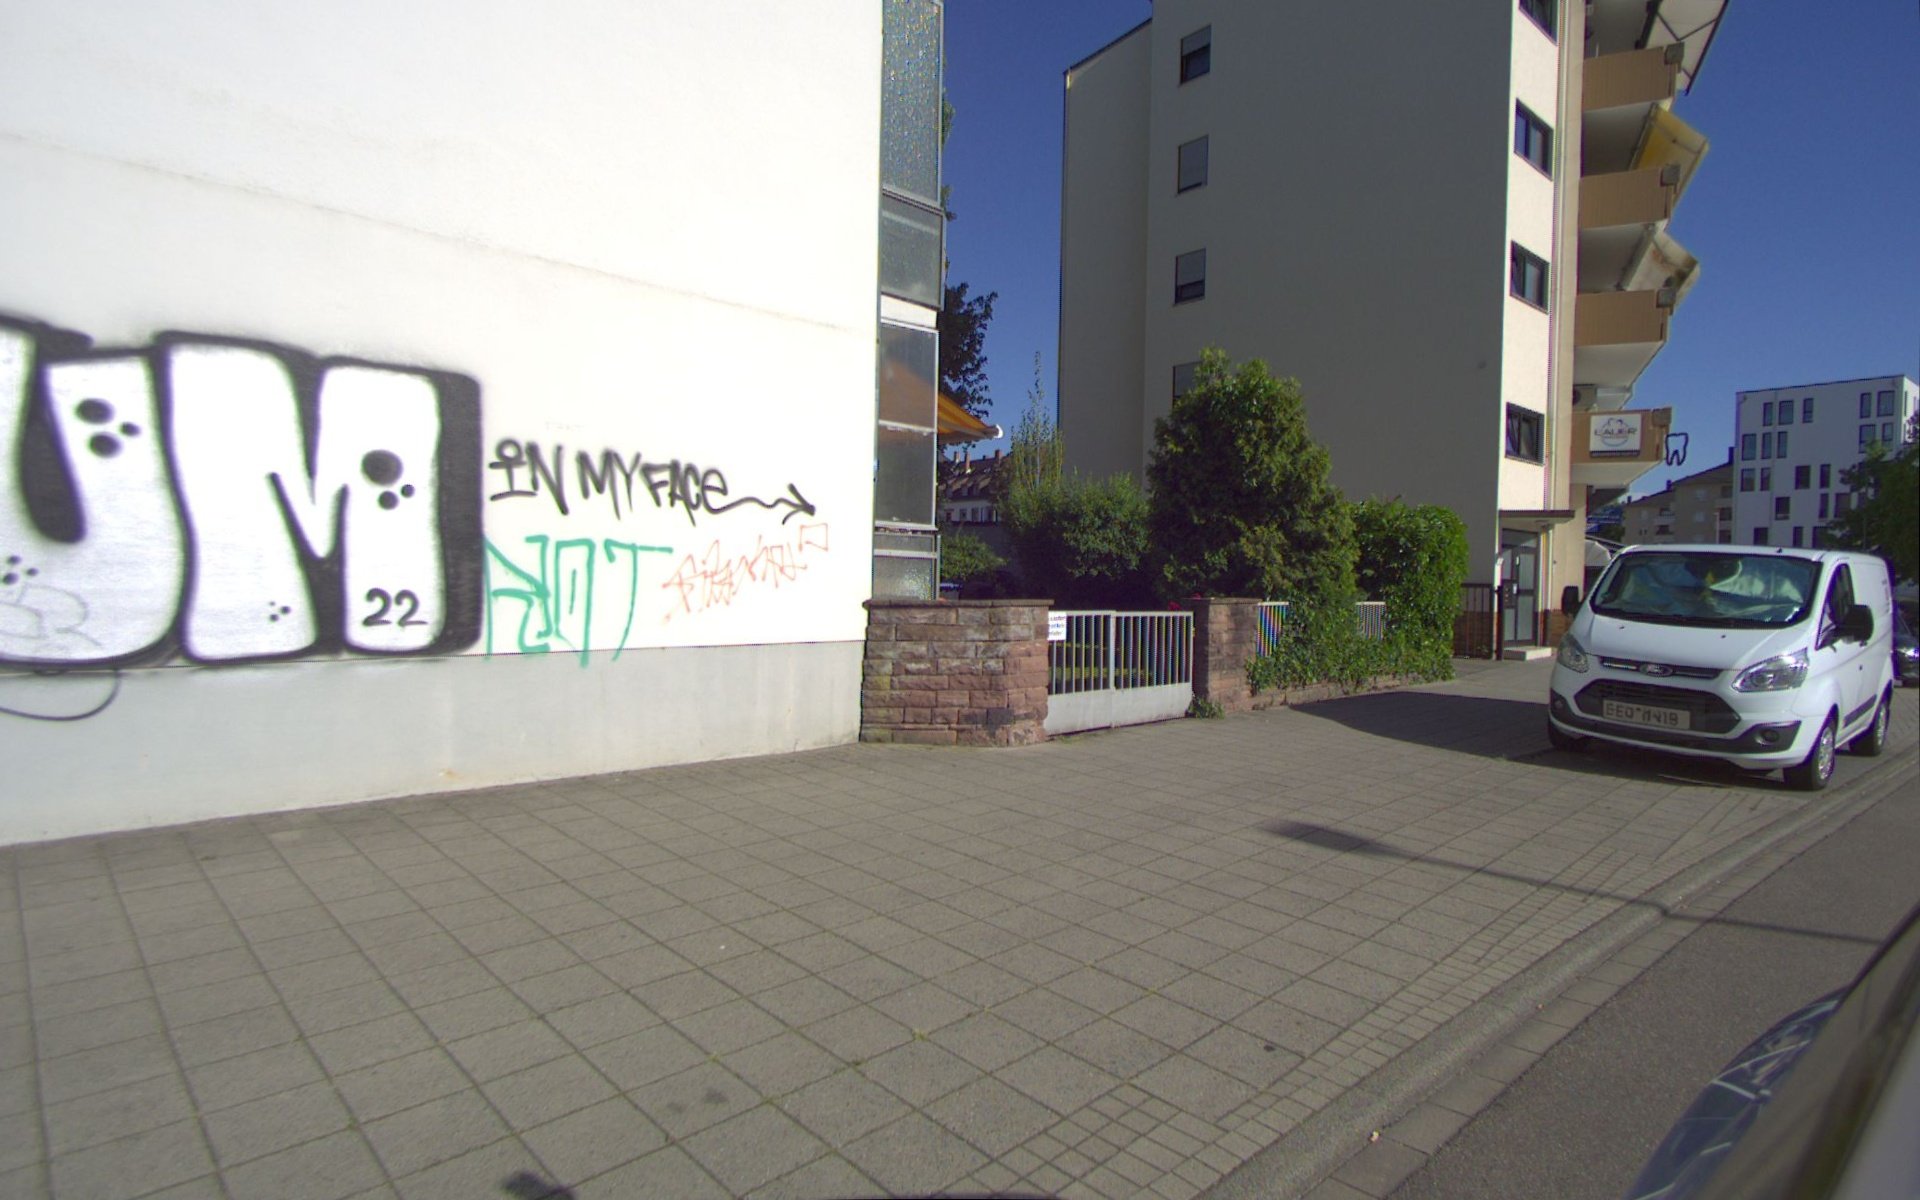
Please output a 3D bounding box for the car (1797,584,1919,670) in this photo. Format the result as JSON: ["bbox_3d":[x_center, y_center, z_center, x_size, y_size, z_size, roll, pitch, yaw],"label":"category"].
[{"bbox_3d":[20.285,0.545,22.985,1.751,1.632,3.944,7,4,38],"label":"car"}]

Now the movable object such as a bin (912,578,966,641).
[{"bbox_3d":[-0.365,0.153,17.404,0.562,1.036,0.736,0,2,-45],"label":"movable object such as a bin"}]

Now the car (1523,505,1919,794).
[{"bbox_3d":[7.345,0.294,9.495,4.713,2.037,1.999,0,4,-41],"label":"car"}]

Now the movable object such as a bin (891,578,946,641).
[{"bbox_3d":[-0.696,0.146,16.893,0.562,0.996,0.736,0,2,-45],"label":"movable object such as a bin"}]

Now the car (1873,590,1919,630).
[{"bbox_3d":[41.146,0.393,43.102,2.118,1.634,4.790,0,1,27],"label":"car"}]

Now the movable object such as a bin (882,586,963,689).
[{"bbox_3d":[-0.423,0.403,11.628,0.567,1.119,0.795,2,2,33],"label":"movable object such as a bin"}]

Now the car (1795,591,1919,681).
[{"bbox_3d":[17.152,0.611,19.134,1.749,1.411,3.948,6,4,36],"label":"car"}]

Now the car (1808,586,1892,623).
[{"bbox_3d":[45.981,0.173,52.420,2.118,1.833,4.790,0,1,27],"label":"car"}]

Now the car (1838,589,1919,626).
[{"bbox_3d":[43.720,0.329,48.012,2.118,1.634,4.420,0,1,27],"label":"car"}]
